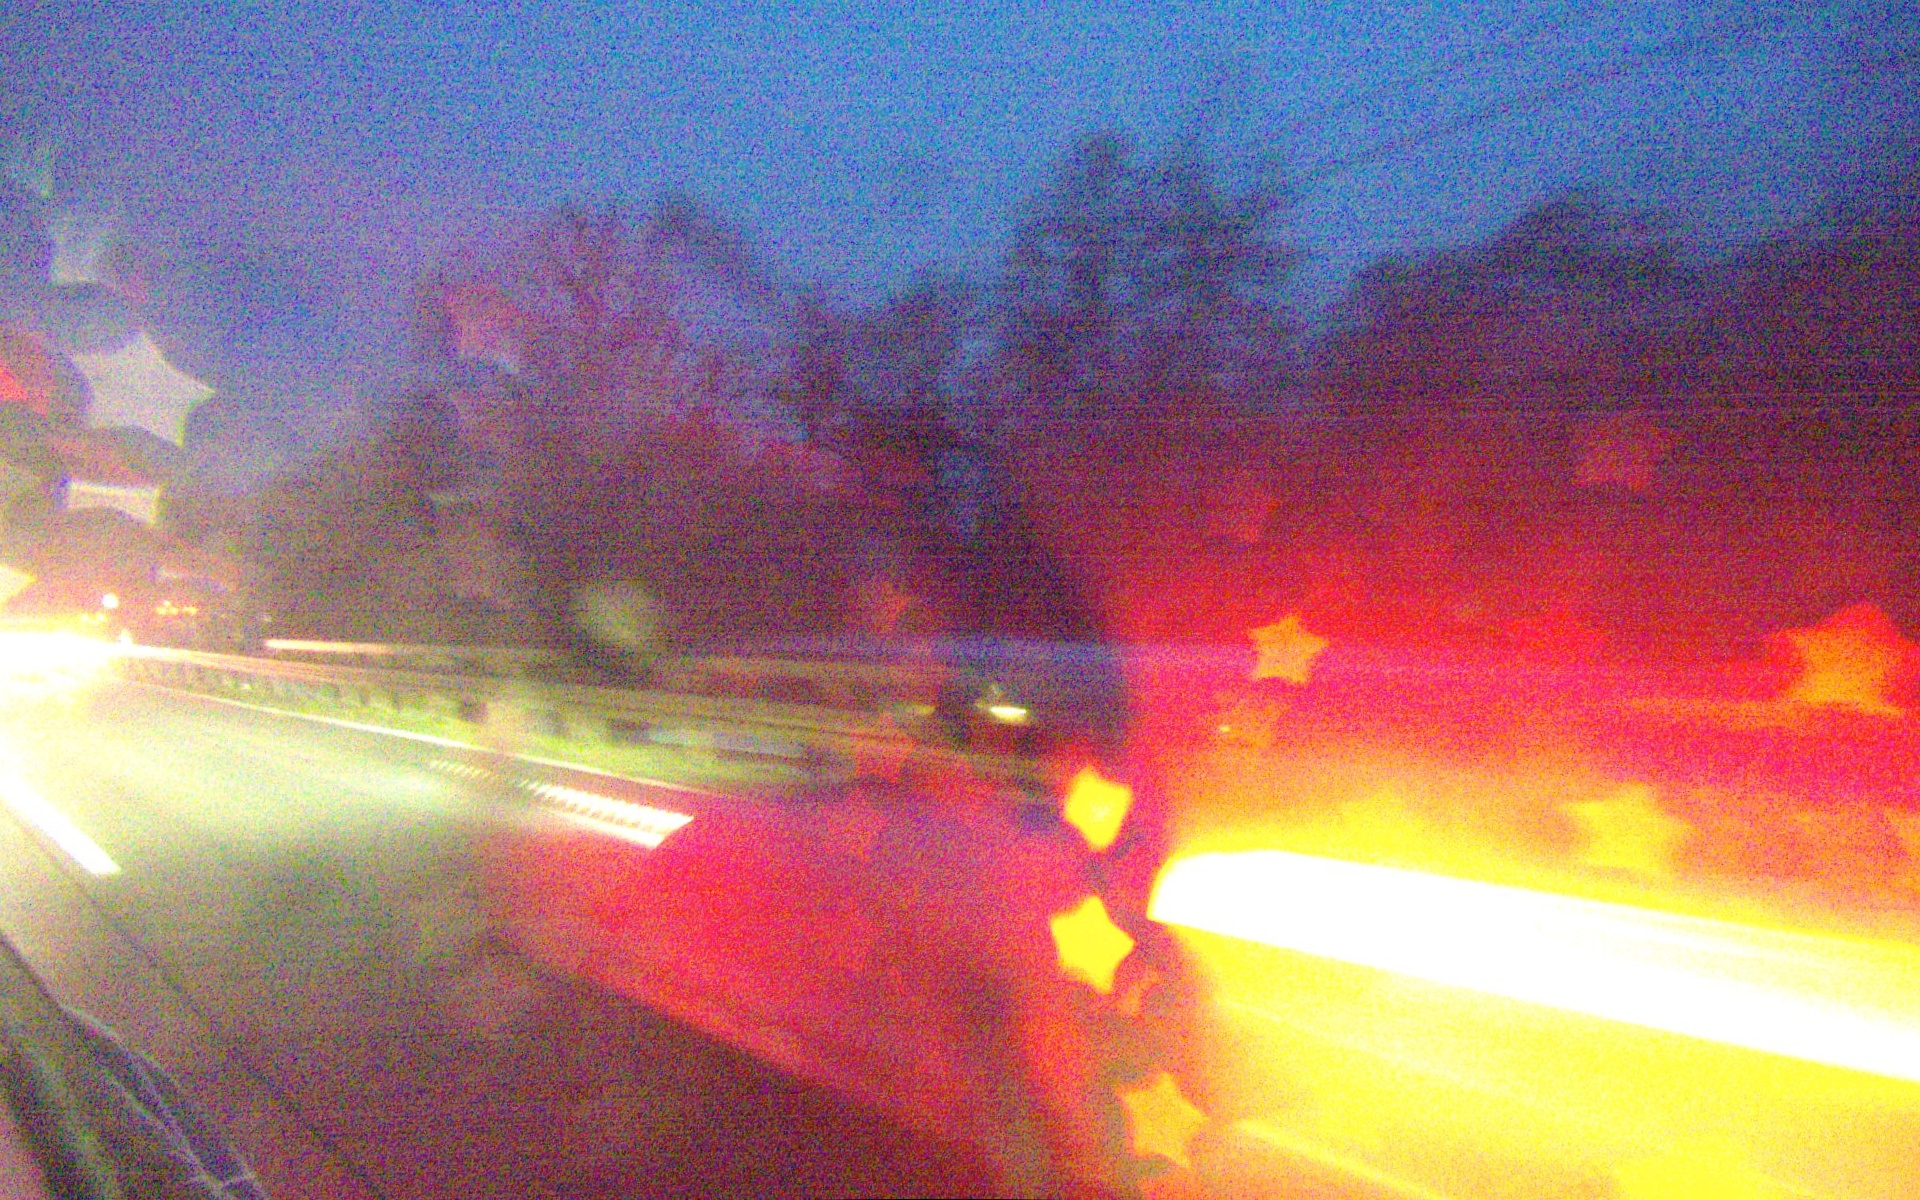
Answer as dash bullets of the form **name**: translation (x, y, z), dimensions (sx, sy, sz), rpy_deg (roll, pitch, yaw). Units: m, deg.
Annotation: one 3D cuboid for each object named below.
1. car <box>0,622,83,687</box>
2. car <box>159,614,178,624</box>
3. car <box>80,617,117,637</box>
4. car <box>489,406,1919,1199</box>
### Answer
- **car**: translation (-23.573, 1.323, 25.334), dimensions (3.835, 1.483, 1.972), rpy_deg (-2, -1, 42)
- **car**: translation (-140.489, 3.384, 179.742), dimensions (1.965, 1.763, 4.271), rpy_deg (0, 0, -28)
- **car**: translation (-88.198, 2.781, 103.674), dimensions (1.965, 1.940, 4.013), rpy_deg (0, 0, -27)
- **car**: translation (0.414, 0.454, 3.034), dimensions (4.187, 1.349, 1.787), rpy_deg (-1, 0, 41)
